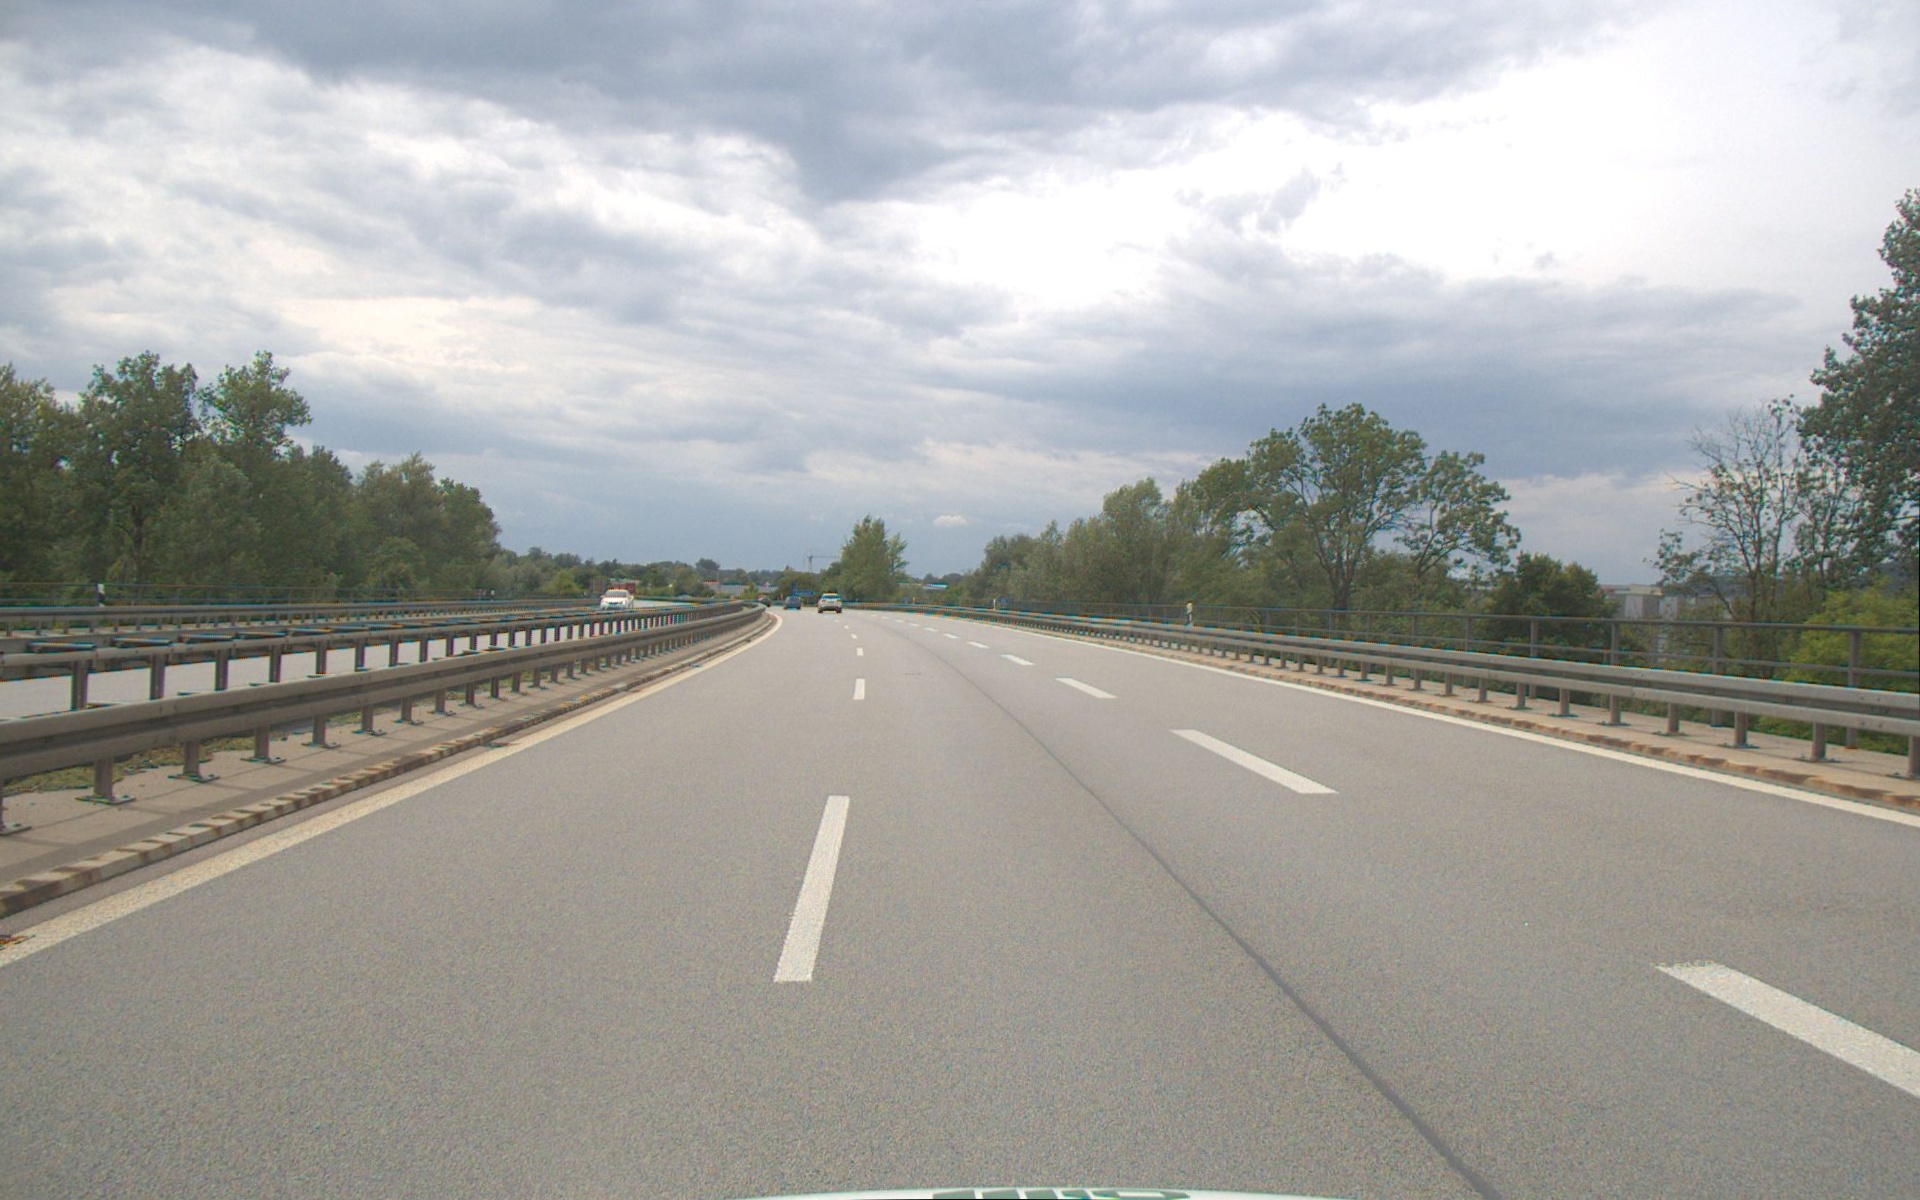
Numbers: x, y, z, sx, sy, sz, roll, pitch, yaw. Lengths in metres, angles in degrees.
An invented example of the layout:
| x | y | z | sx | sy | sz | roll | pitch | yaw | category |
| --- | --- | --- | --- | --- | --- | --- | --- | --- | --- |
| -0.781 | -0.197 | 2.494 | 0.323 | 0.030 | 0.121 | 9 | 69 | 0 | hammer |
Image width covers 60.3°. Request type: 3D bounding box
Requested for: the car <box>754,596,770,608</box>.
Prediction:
| x | y | z | sx | sy | sz | roll | pitch | yaw | category |
| --- | --- | --- | --- | --- | --- | --- | --- | --- | --- |
| -27.516 | 0.314 | 229.637 | 1.868 | 1.668 | 4.768 | 1 | 0 | -10 | car |

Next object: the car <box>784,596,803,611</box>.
| x | y | z | sx | sy | sz | roll | pitch | yaw | category |
| --- | --- | --- | --- | --- | --- | --- | --- | --- | --- |
| -18.996 | 0.387 | 188.359 | 1.858 | 1.668 | 4.611 | 1 | 0 | -10 | car |

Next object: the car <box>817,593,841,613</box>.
| x | y | z | sx | sy | sz | roll | pitch | yaw | category |
| --- | --- | --- | --- | --- | --- | --- | --- | --- | --- |
| -11.237 | 0.255 | 141.683 | 1.866 | 1.668 | 4.388 | 1 | 0 | -8 | car |

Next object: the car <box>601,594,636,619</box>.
| x | y | z | sx | sy | sz | roll | pitch | yaw | category |
| --- | --- | --- | --- | --- | --- | --- | --- | --- | --- |
| -20.190 | 0.388 | 97.919 | 1.501 | 1.431 | 4.324 | 1 | 0 | -4 | car |
